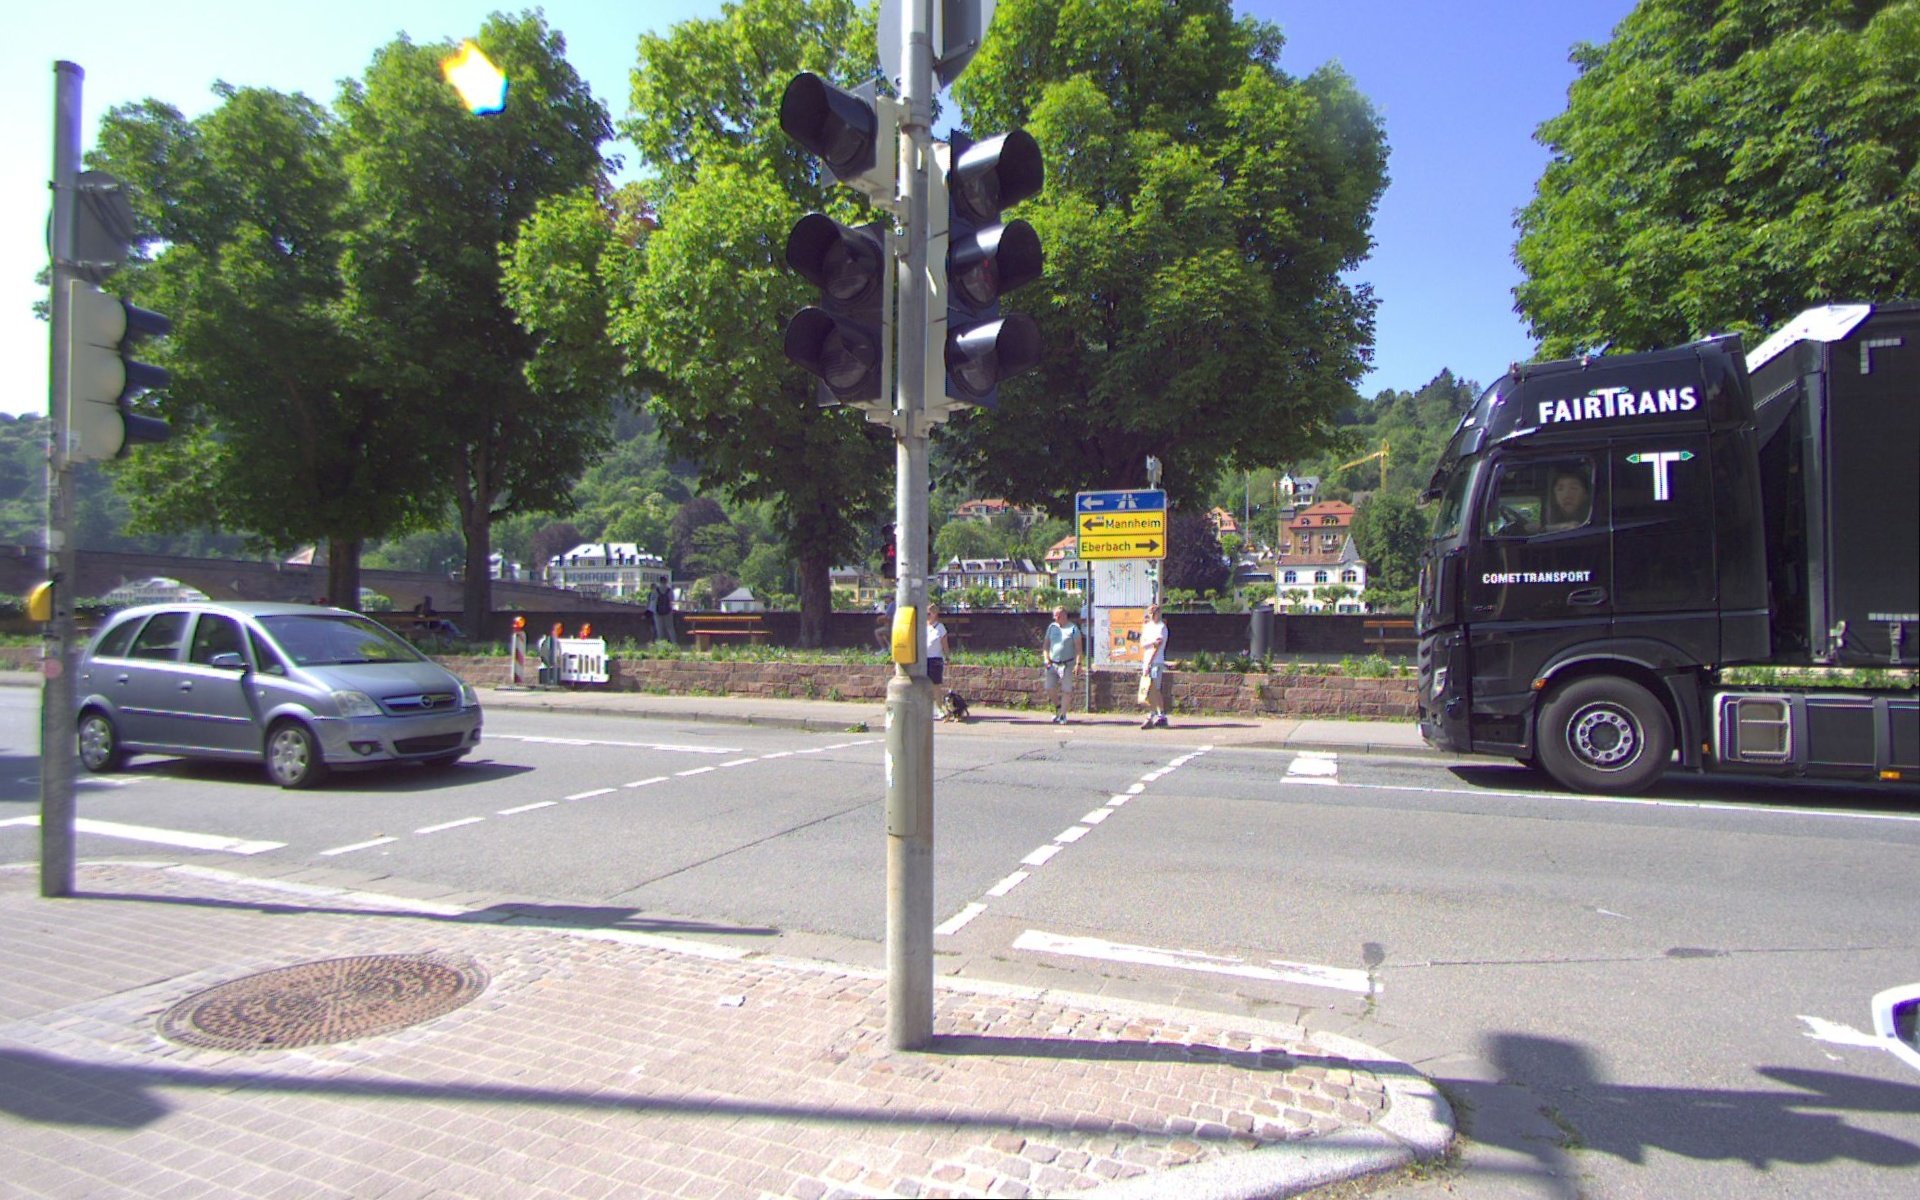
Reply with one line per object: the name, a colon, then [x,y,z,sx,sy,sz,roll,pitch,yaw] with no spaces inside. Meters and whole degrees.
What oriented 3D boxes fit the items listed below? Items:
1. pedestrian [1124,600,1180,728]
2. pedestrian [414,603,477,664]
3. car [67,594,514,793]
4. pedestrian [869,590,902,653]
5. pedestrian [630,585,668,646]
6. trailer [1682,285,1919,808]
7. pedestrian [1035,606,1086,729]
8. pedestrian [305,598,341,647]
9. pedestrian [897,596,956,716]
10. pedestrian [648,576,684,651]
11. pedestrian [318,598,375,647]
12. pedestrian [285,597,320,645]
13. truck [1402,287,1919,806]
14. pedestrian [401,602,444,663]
pedestrian: [2.832,0.925,14.778,0.692,1.825,0.579,0,-2,24]
pedestrian: [-12.996,0.842,25.403,0.460,1.499,1.384,0,-2,25]
car: [-6.379,0.775,9.641,3.665,1.632,1.693,0,-1,19]
pedestrian: [-1.519,0.439,20.456,0.631,1.244,0.414,-1,-4,-2]
pedestrian: [-9.058,0.452,29.243,0.696,1.754,0.757,1,-2,17]
trailer: [13.679,-0.374,7.157,13.502,4.157,2.843,0,-3,21]
pedestrian: [1.530,0.999,15.205,0.703,1.793,0.691,1,-1,7]
pedestrian: [-17.032,0.597,26.847,0.460,1.287,0.631,0,-2,26]
pedestrian: [-0.530,0.870,15.894,0.714,1.826,0.630,0,2,-24]
pedestrian: [-7.538,0.361,25.821,0.751,1.882,0.755,2,-2,-11]
pedestrian: [-16.414,0.621,26.904,0.460,1.287,1.223,0,-2,25]
pedestrian: [-17.817,0.575,27.222,0.460,1.287,0.631,0,-2,26]
truck: [7.468,-0.352,9.520,5.816,4.124,2.840,0,-3,21]
pedestrian: [-13.587,0.812,25.402,0.460,1.512,0.804,0,-2,25]
